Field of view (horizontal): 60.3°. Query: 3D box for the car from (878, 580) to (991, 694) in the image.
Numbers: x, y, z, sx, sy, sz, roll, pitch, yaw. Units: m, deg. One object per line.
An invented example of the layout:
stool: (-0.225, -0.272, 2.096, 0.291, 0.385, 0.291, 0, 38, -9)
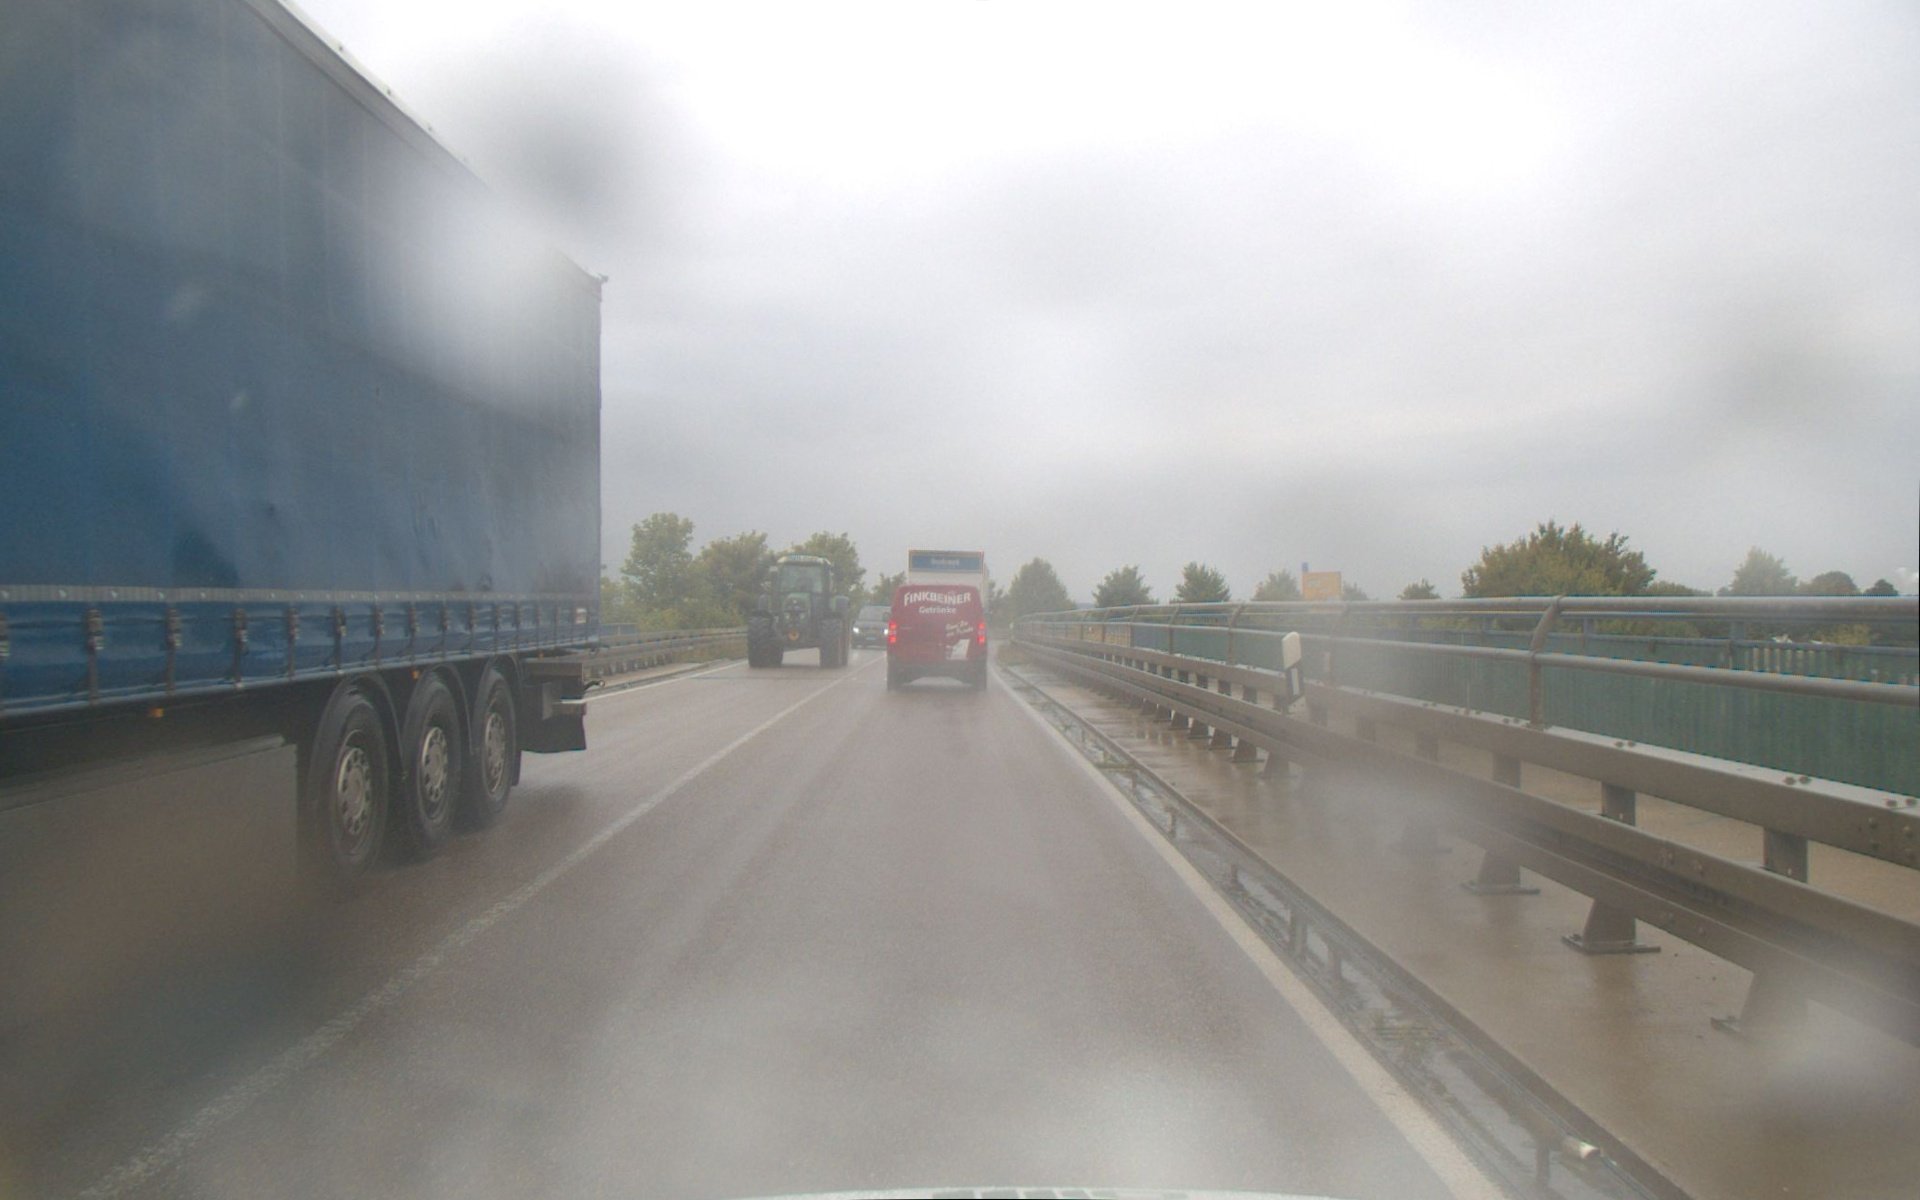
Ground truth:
car: (-0.499, 0.623, 31.109, 1.953, 1.959, 4.142, 1, 1, -2)

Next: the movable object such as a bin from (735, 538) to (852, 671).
movable object such as a bin: (-4.577, 0.133, 46.218, 2.692, 3.506, 4.643, -1, 0, 1)

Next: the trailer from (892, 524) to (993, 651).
trailer: (-0.507, -0.362, 58.502, 3.135, 3.990, 8.740, 3, -1, 1)

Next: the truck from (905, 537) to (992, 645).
truck: (-0.357, -0.301, 67.262, 3.135, 3.990, 8.740, 3, -1, 1)

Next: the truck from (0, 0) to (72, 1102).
truck: (-3.941, -0.632, 0.526, 2.761, 4.040, 8.761, 0, 0, -1)

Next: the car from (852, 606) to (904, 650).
car: (-3.637, 1.232, 73.796, 2.023, 1.869, 4.931, -1, 0, 0)

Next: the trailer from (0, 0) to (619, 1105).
trailer: (-4.099, -0.621, 7.043, 2.761, 4.040, 13.732, 0, 0, -1)
